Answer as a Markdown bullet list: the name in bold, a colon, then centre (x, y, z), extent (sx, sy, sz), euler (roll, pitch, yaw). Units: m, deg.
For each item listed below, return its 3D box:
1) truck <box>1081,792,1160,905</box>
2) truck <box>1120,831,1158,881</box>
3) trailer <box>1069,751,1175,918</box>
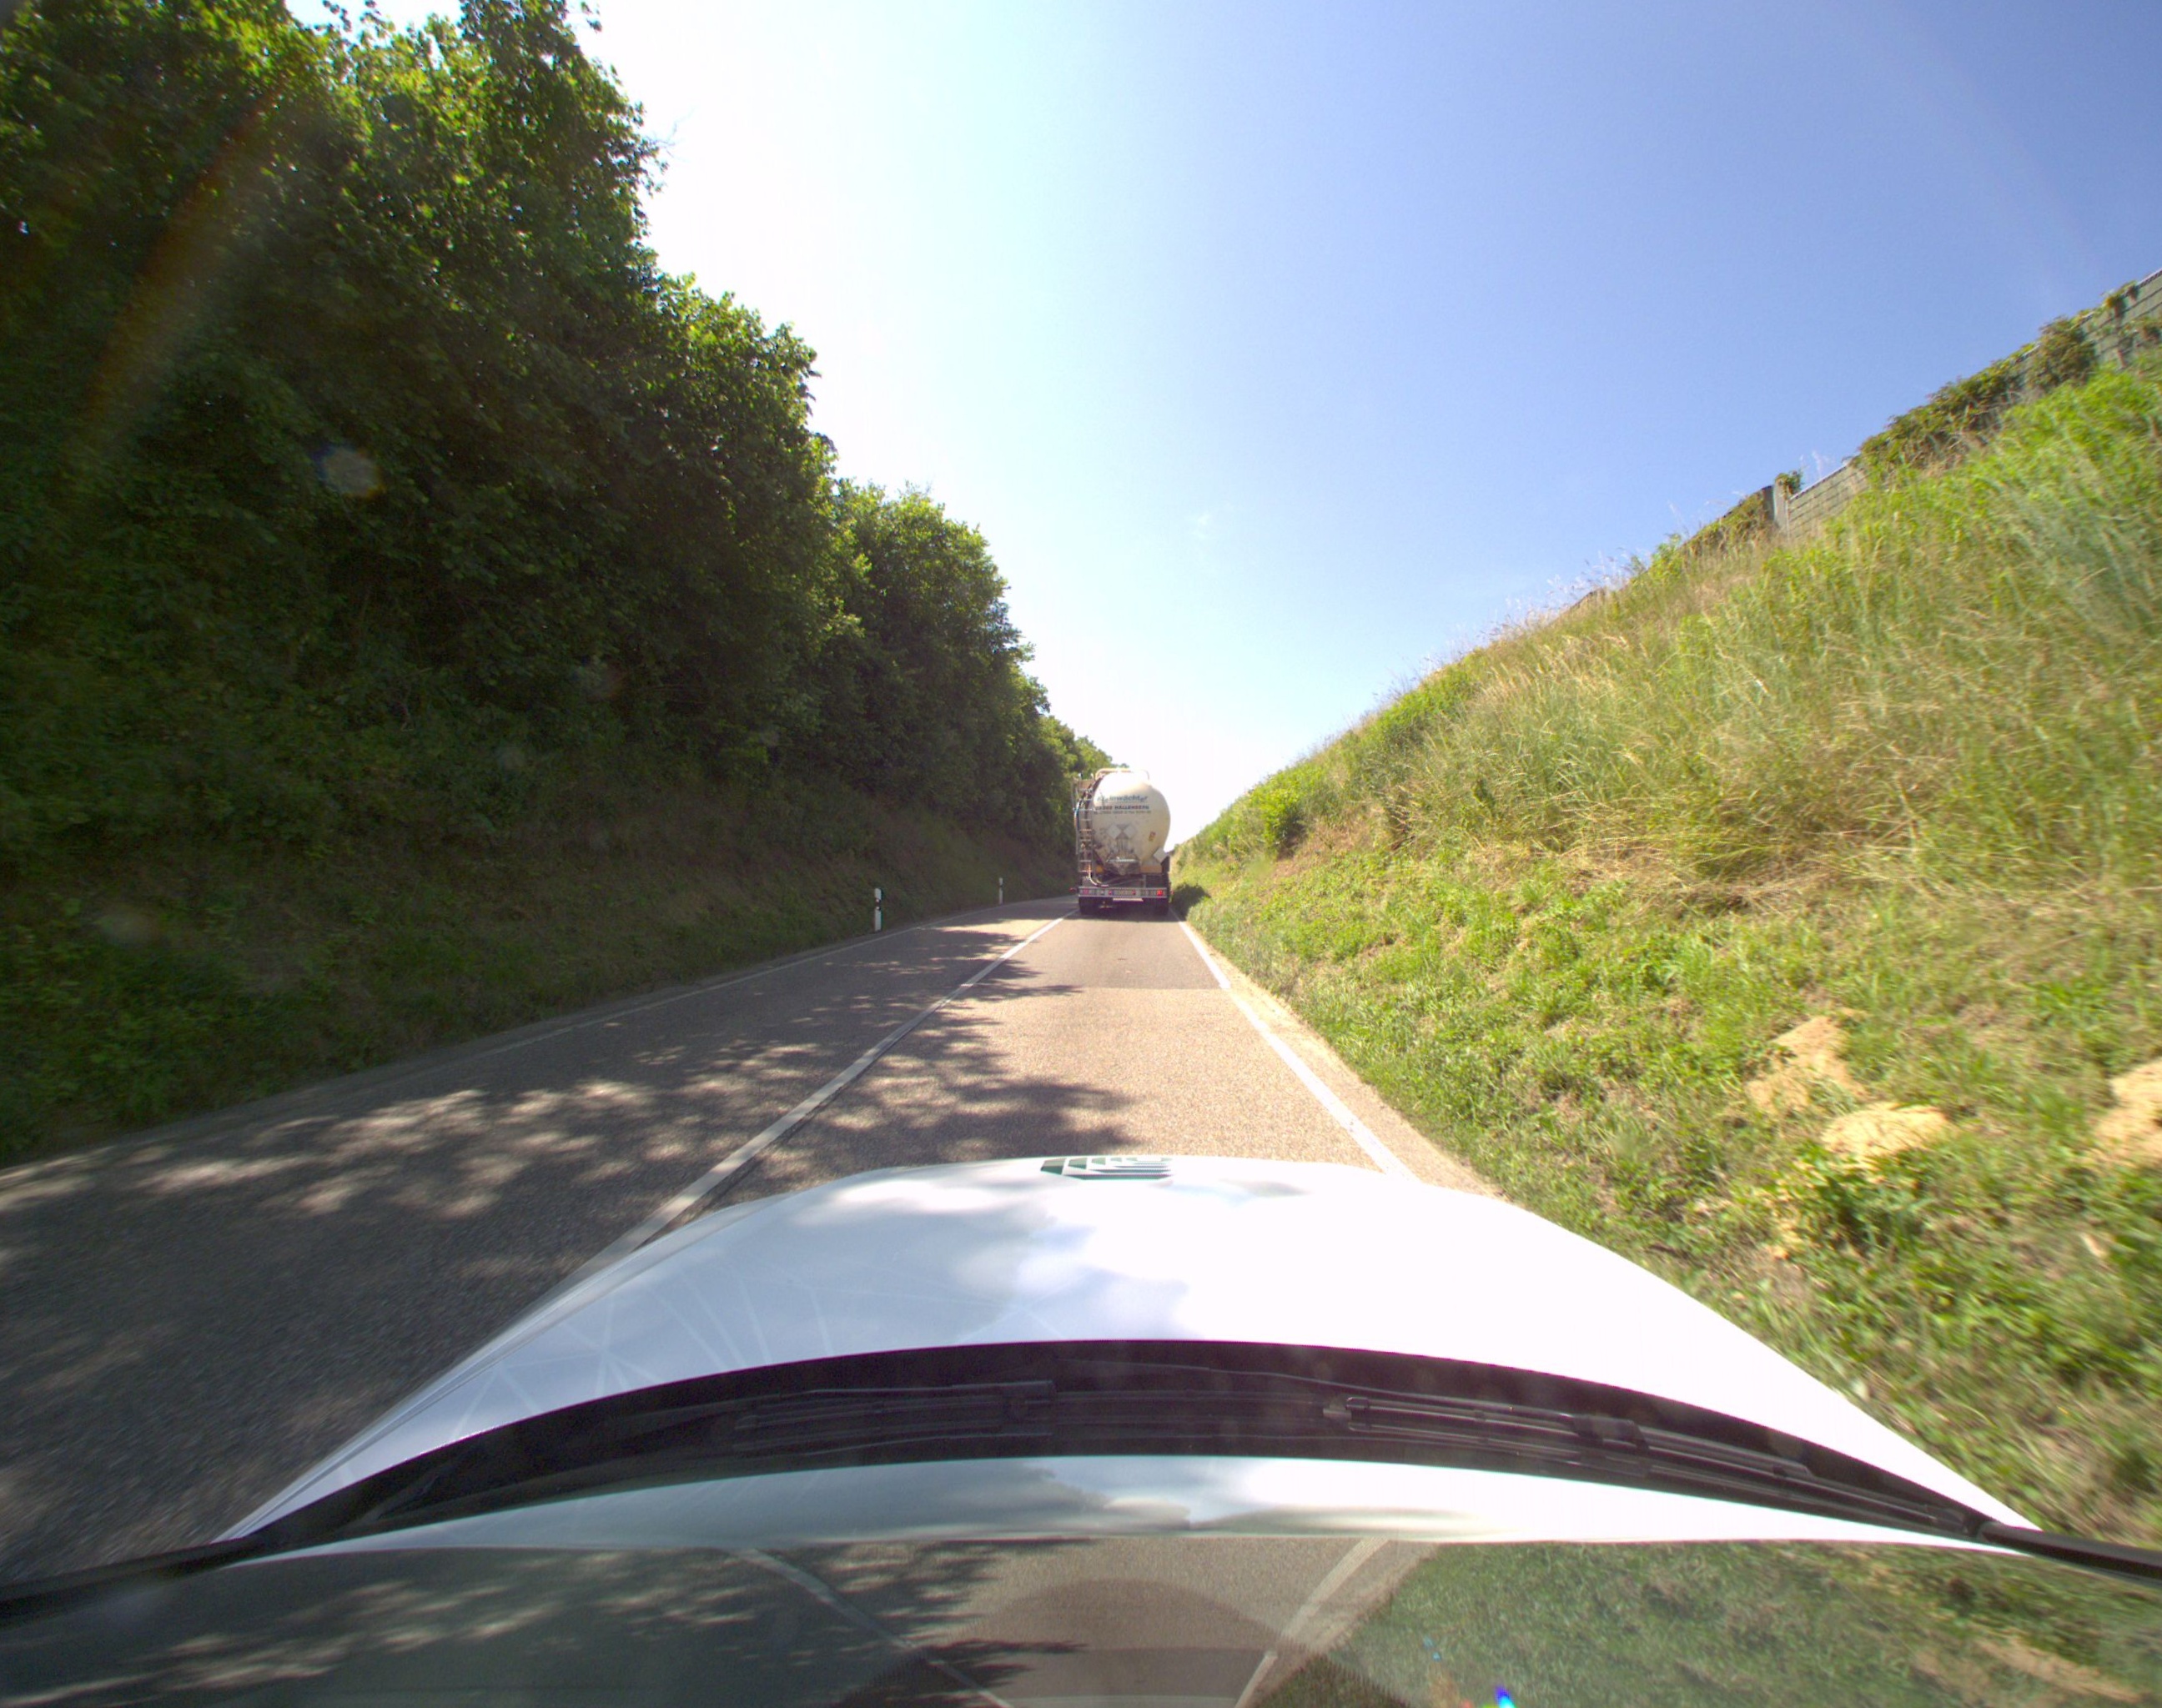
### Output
- **truck**: centre (1.669, -0.120, 32.455), extent (2.714, 3.930, 7.271), euler (-1, -1, 4)
- **truck**: centre (5.435, 0.242, 76.510), extent (3.176, 4.310, 11.810), euler (1, -1, 4)
- **trailer**: centre (1.325, -0.387, 26.510), extent (2.650, 4.189, 11.911), euler (0, -1, 3)
